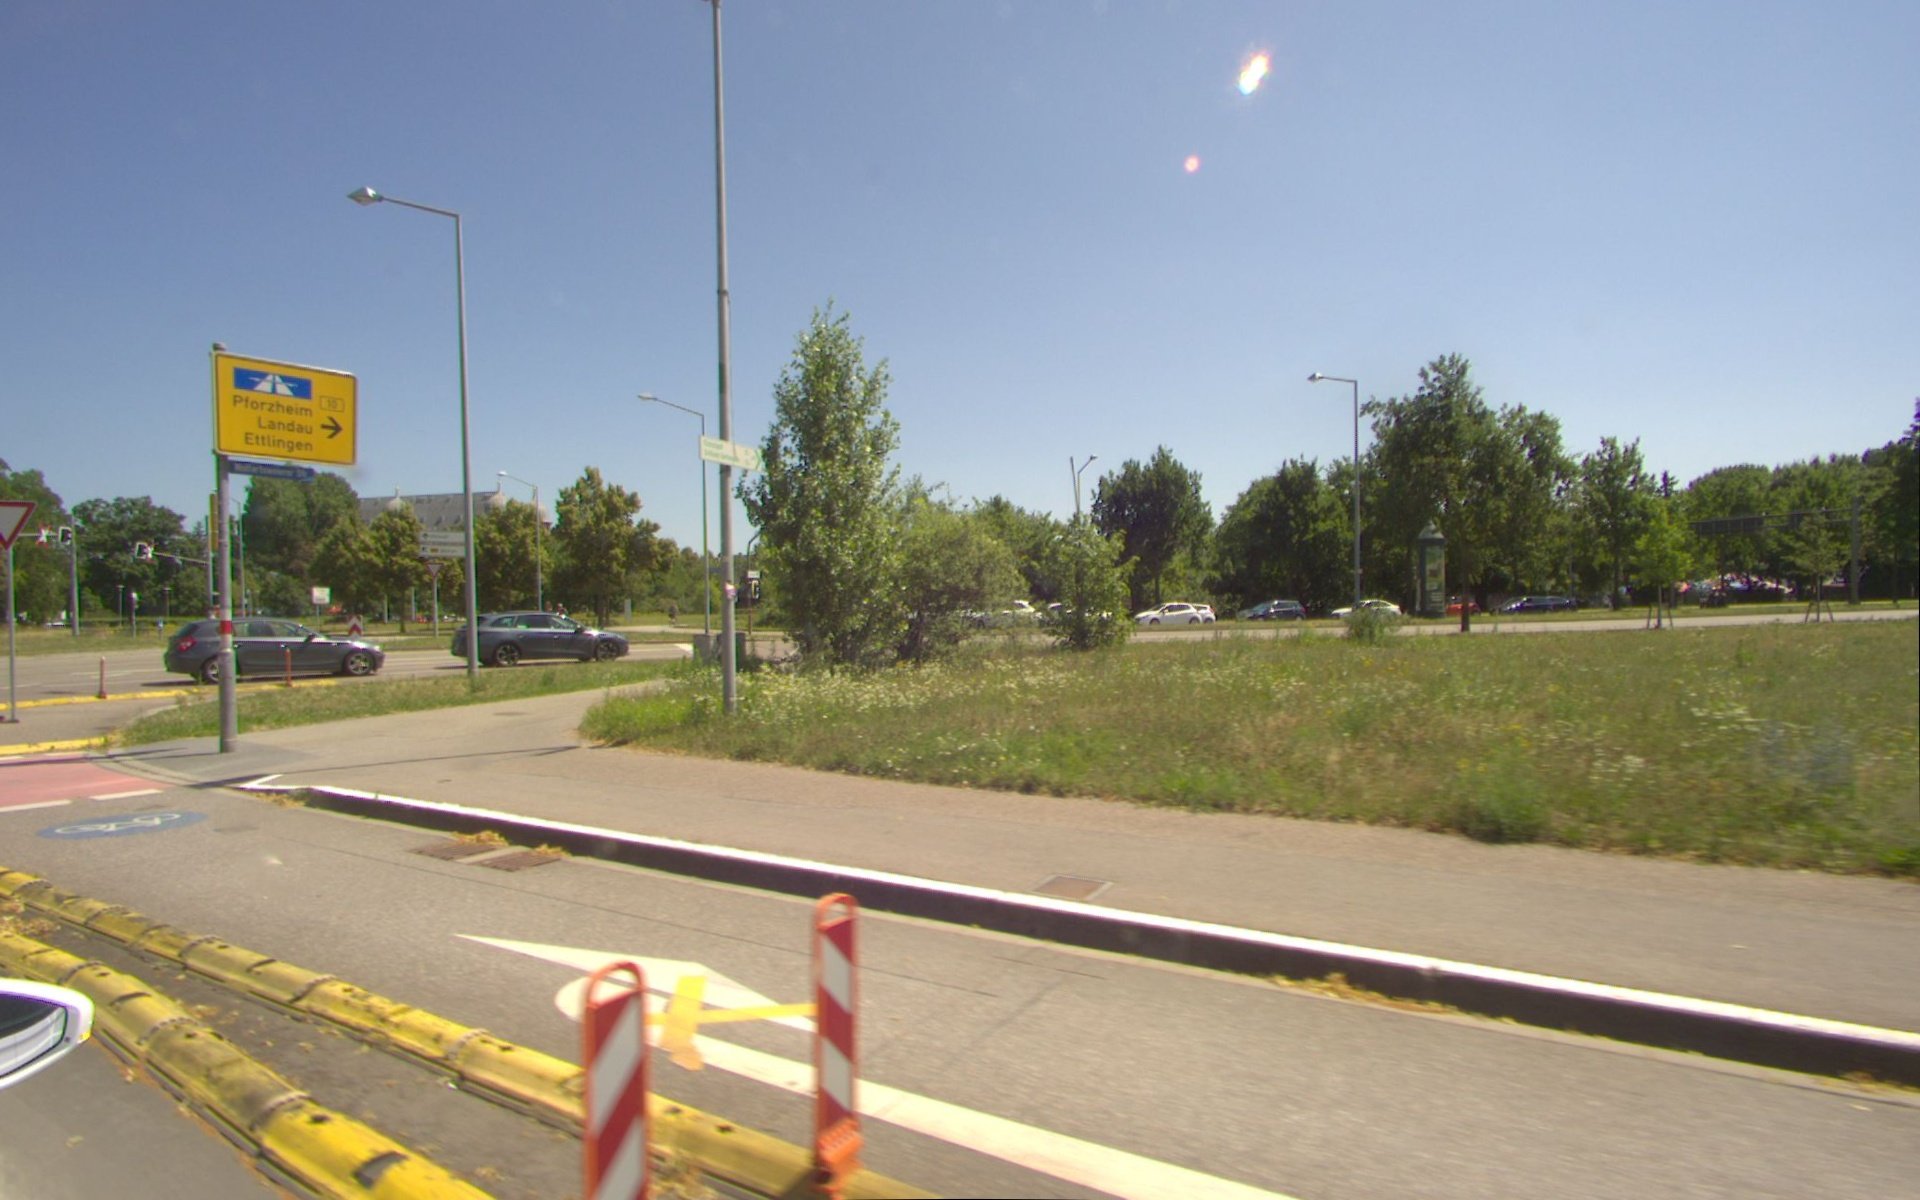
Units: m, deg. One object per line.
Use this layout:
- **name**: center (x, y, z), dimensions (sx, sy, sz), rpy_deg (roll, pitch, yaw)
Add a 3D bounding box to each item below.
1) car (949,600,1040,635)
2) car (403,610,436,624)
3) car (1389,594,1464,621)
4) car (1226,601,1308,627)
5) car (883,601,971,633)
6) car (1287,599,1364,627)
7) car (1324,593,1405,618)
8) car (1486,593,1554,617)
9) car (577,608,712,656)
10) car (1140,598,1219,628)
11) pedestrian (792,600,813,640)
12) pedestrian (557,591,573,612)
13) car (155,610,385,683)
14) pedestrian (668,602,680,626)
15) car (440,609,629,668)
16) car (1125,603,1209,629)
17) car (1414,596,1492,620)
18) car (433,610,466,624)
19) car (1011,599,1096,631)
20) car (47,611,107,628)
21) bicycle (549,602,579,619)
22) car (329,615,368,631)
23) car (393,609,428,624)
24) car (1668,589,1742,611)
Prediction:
- **car**: center (1.745, 0.855, 51.201), dimensions (4.329, 1.705, 1.861), rpy_deg (0, 0, -16)
- **car**: center (-77.153, 2.400, 143.001), dimensions (3.931, 2.039, 1.996), rpy_deg (0, -1, -19)
- **car**: center (30.868, 0.480, 66.260), dimensions (4.329, 1.705, 1.861), rpy_deg (0, 0, -16)
- **car**: center (18.078, 0.822, 58.947), dimensions (4.329, 1.441, 1.861), rpy_deg (0, 0, -16)
- **car**: center (-1.779, 0.868, 52.884), dimensions (4.329, 1.639, 1.861), rpy_deg (0, 0, -16)
- **car**: center (23.315, 0.797, 63.933), dimensions (4.329, 1.705, 1.861), rpy_deg (0, 0, -16)
- **car**: center (24.607, 0.333, 60.976), dimensions (4.329, 1.441, 1.861), rpy_deg (0, 0, -16)
- **car**: center (36.016, 0.351, 64.414), dimensions (3.730, 1.494, 1.718), rpy_deg (0, -1, -17)
- **car**: center (-10.529, 1.030, 33.494), dimensions (3.946, 1.441, 1.771), rpy_deg (-1, 0, -34)
- **car**: center (13.381, 0.780, 61.092), dimensions (4.329, 1.705, 1.861), rpy_deg (0, 0, -16)
- **pedestrian**: center (-6.666, 0.845, 42.408), dimensions (0.743, 1.658, 0.955), rpy_deg (0, -1, -16)
- **pedestrian**: center (-27.934, 0.131, 70.800), dimensions (0.804, 1.469, 0.708), rpy_deg (-1, -1, 22)
- **car**: center (-15.626, 0.988, 22.827), dimensions (1.734, 1.422, 4.045), rpy_deg (1, 1, 42)
- **pedestrian**: center (-21.351, 1.071, 74.706), dimensions (0.564, 1.753, 0.674), rpy_deg (-1, -1, 15)
- **car**: center (-11.655, 0.991, 27.571), dimensions (4.405, 1.437, 1.983), rpy_deg (-1, 0, -40)
- **car**: center (11.828, 0.906, 57.278), dimensions (4.329, 1.441, 1.861), rpy_deg (0, 0, -16)
- **car**: center (31.081, 0.495, 63.151), dimensions (4.329, 1.441, 1.861), rpy_deg (0, 0, -16)
- **car**: center (-75.436, 2.545, 148.104), dimensions (3.926, 2.039, 1.999), rpy_deg (0, -1, -12)
- **car**: center (5.165, 0.812, 55.402), dimensions (4.329, 1.705, 1.861), rpy_deg (0, 0, -16)
- **car**: center (-86.405, 1.930, 98.050), dimensions (3.934, 1.594, 1.995), rpy_deg (0, -2, -22)
- **bicycle**: center (-28.024, 0.759, 70.816), dimensions (2.023, 1.129, 0.728), rpy_deg (-1, -1, 22)
- **car**: center (-78.461, 2.988, 128.580), dimensions (3.931, 2.039, 1.996), rpy_deg (0, -1, -19)
- **car**: center (-76.988, 2.316, 140.365), dimensions (3.931, 2.039, 1.996), rpy_deg (0, -1, -19)
- **car**: center (51.411, 0.017, 69.122), dimensions (4.329, 1.441, 1.861), rpy_deg (0, 0, -16)
